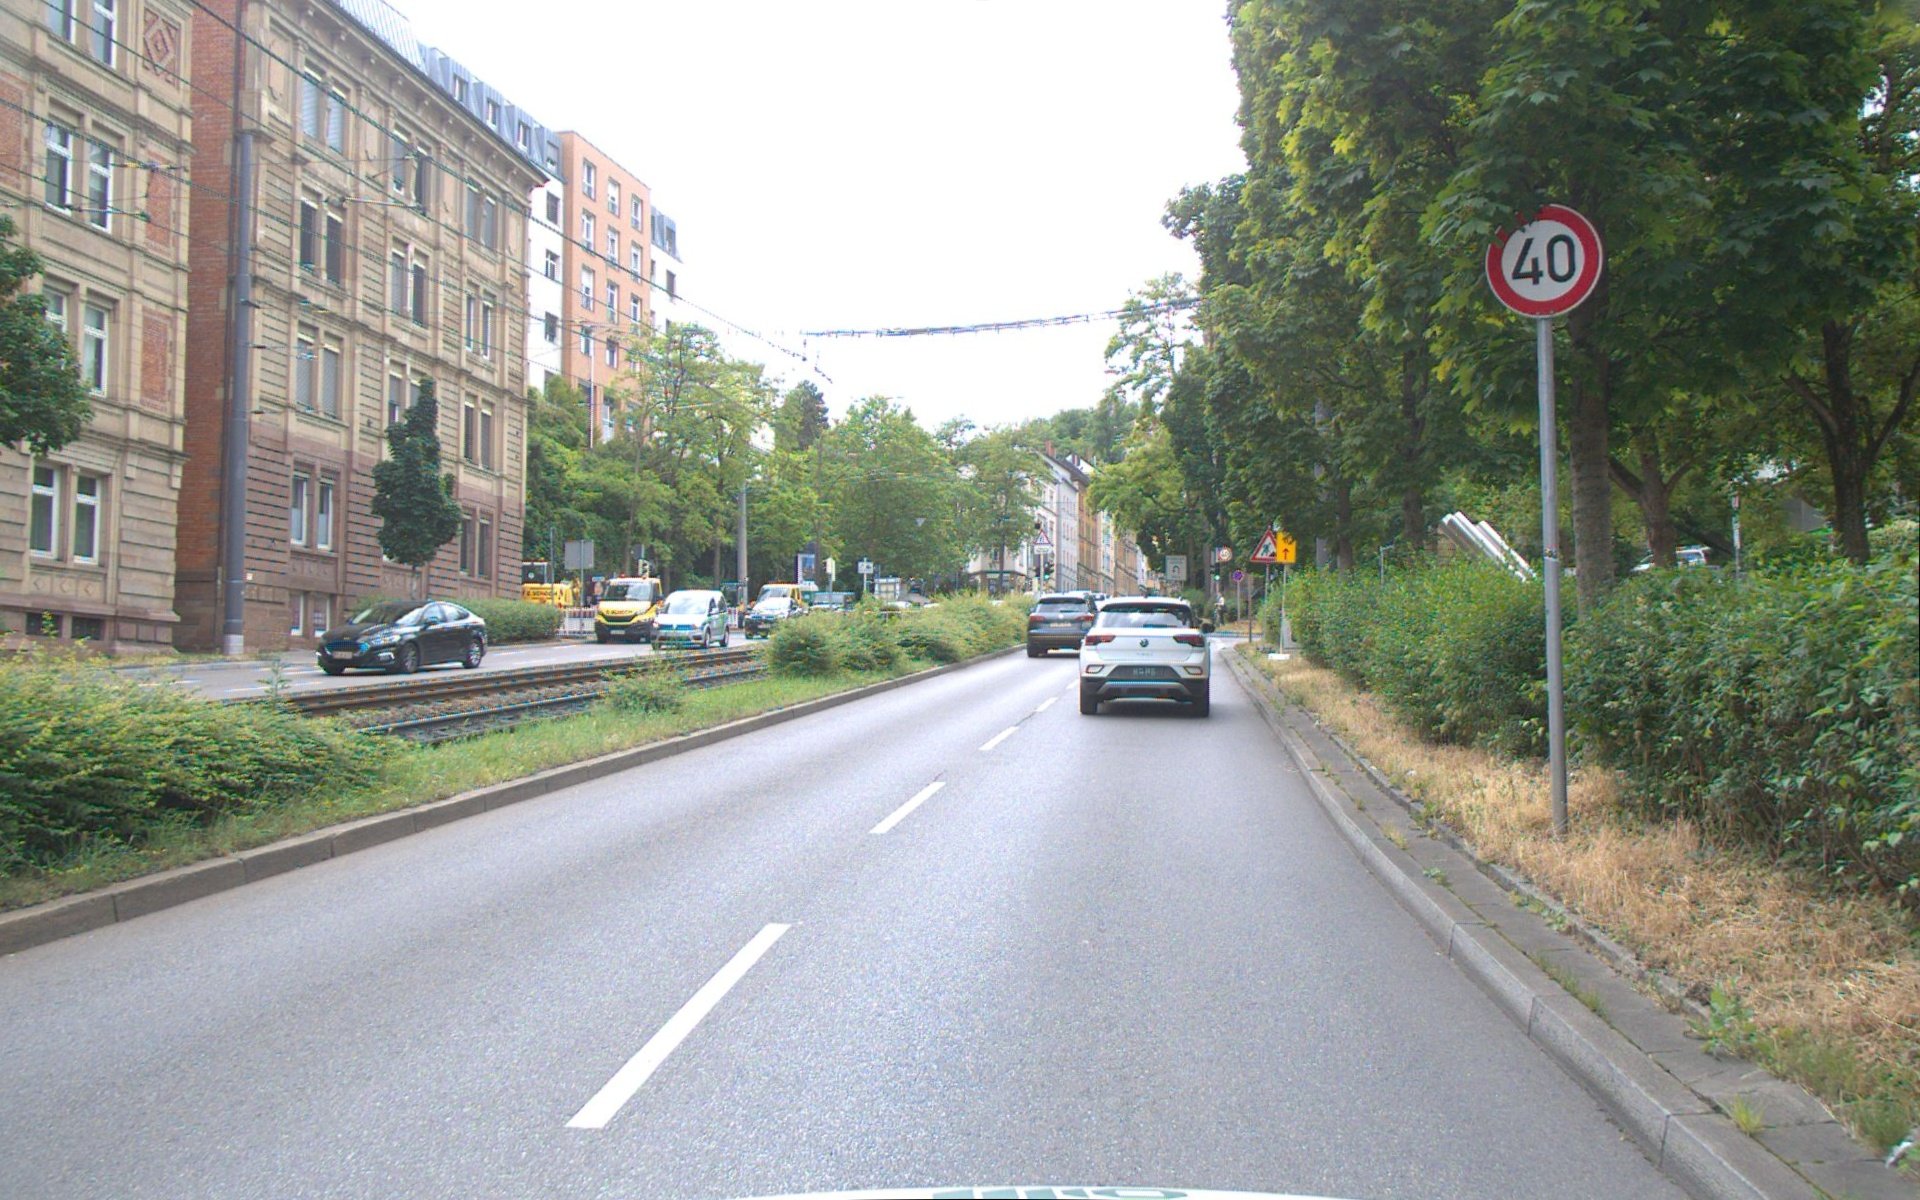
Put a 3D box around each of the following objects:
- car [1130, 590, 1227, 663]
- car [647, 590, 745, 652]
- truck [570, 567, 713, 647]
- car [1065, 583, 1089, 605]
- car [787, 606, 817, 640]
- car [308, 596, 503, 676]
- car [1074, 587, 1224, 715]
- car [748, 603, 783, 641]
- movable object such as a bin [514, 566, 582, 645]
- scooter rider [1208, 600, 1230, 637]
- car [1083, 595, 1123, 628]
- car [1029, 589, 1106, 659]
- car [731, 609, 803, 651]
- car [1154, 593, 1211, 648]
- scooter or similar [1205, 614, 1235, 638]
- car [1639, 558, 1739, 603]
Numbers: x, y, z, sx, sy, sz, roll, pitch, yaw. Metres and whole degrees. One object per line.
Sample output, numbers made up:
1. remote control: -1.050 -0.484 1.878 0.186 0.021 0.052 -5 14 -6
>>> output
1. car: 5.291 0.685 40.537 1.863 1.602 3.834 2 -2 1
2. car: -8.295 0.666 52.397 1.839 1.819 4.520 -2 -1 7
3. truck: -11.344 0.327 59.686 2.855 2.554 7.158 1 -3 8
4. car: 11.138 -0.576 157.876 1.951 2.049 4.003 -1 -1 8
5. car: -7.750 1.109 81.292 1.163 1.615 3.089 1 -1 -1
6. car: -11.495 0.737 34.692 1.780 1.476 4.950 -3 -1 8
7. car: 2.702 0.690 23.294 1.897 1.594 4.049 1 -1 8
8. car: -8.538 0.944 72.812 1.163 1.615 3.089 1 -1 -1
9. movable object such as a bin: -15.363 0.226 61.695 1.952 2.888 2.030 0 -1 3
10. scooter rider: 11.325 0.799 72.241 0.764 1.585 0.530 -1 -1 -13
11. car: 10.708 0.824 123.738 2.371 2.206 6.039 5 1 9
12. car: 2.957 0.653 44.847 1.800 1.770 4.003 1 -1 7
13. car: -7.673 1.204 66.207 1.825 1.582 4.440 1 -1 7
14. car: 8.094 0.781 60.552 1.951 1.652 4.002 -2 -5 6
15. scooter or similar: 11.347 1.116 72.245 1.166 1.011 0.530 -1 -1 -13
16. car: 35.753 -0.943 81.185 4.044 2.049 2.000 -1 -1 1
